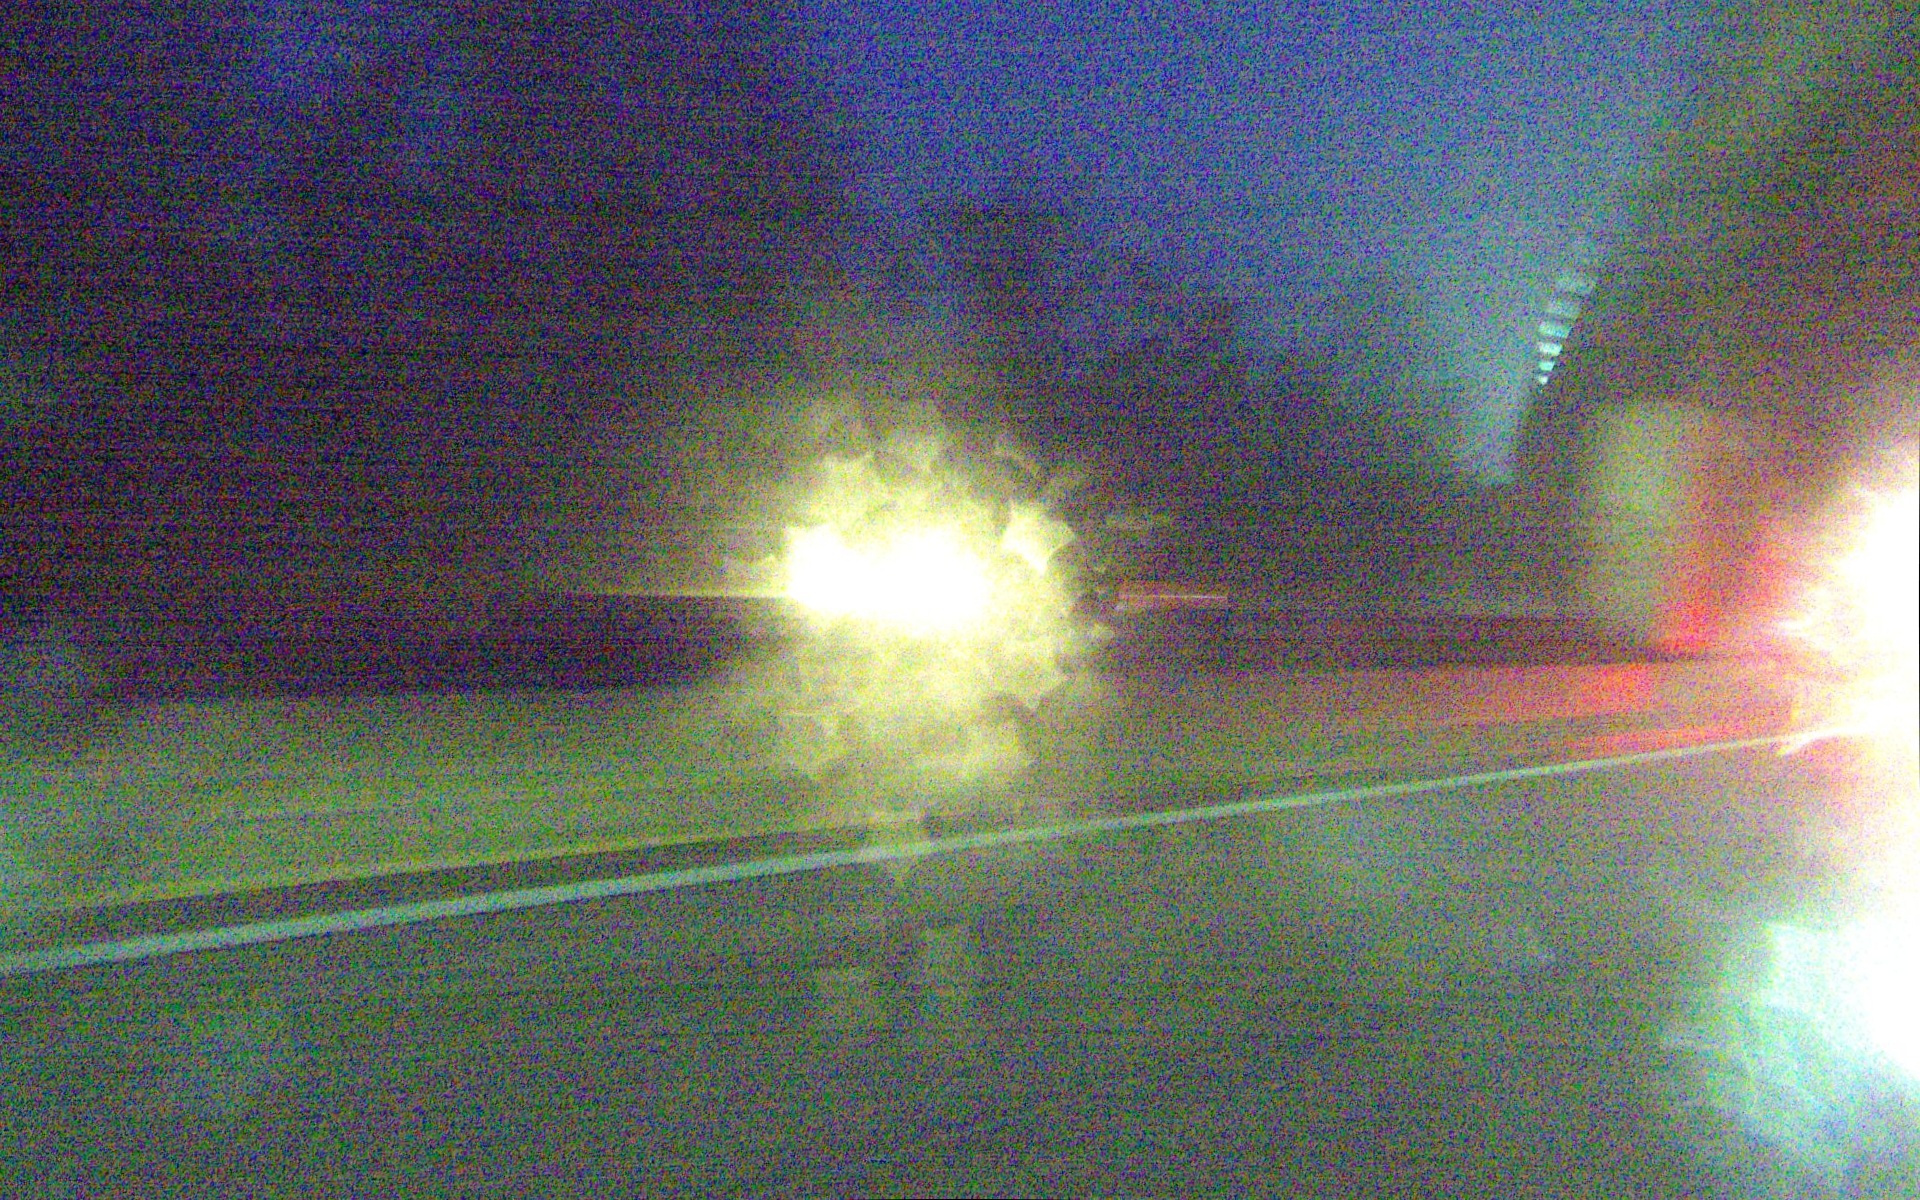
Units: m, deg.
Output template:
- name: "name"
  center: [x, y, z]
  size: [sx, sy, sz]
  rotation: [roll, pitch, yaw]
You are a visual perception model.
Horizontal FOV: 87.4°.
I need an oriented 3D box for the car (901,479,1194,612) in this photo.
- name: "car"
  center: [1.770, -0.904, 19.369]
  size: [5.486, 2.191, 2.131]
  rotation: [1, 0, -33]
